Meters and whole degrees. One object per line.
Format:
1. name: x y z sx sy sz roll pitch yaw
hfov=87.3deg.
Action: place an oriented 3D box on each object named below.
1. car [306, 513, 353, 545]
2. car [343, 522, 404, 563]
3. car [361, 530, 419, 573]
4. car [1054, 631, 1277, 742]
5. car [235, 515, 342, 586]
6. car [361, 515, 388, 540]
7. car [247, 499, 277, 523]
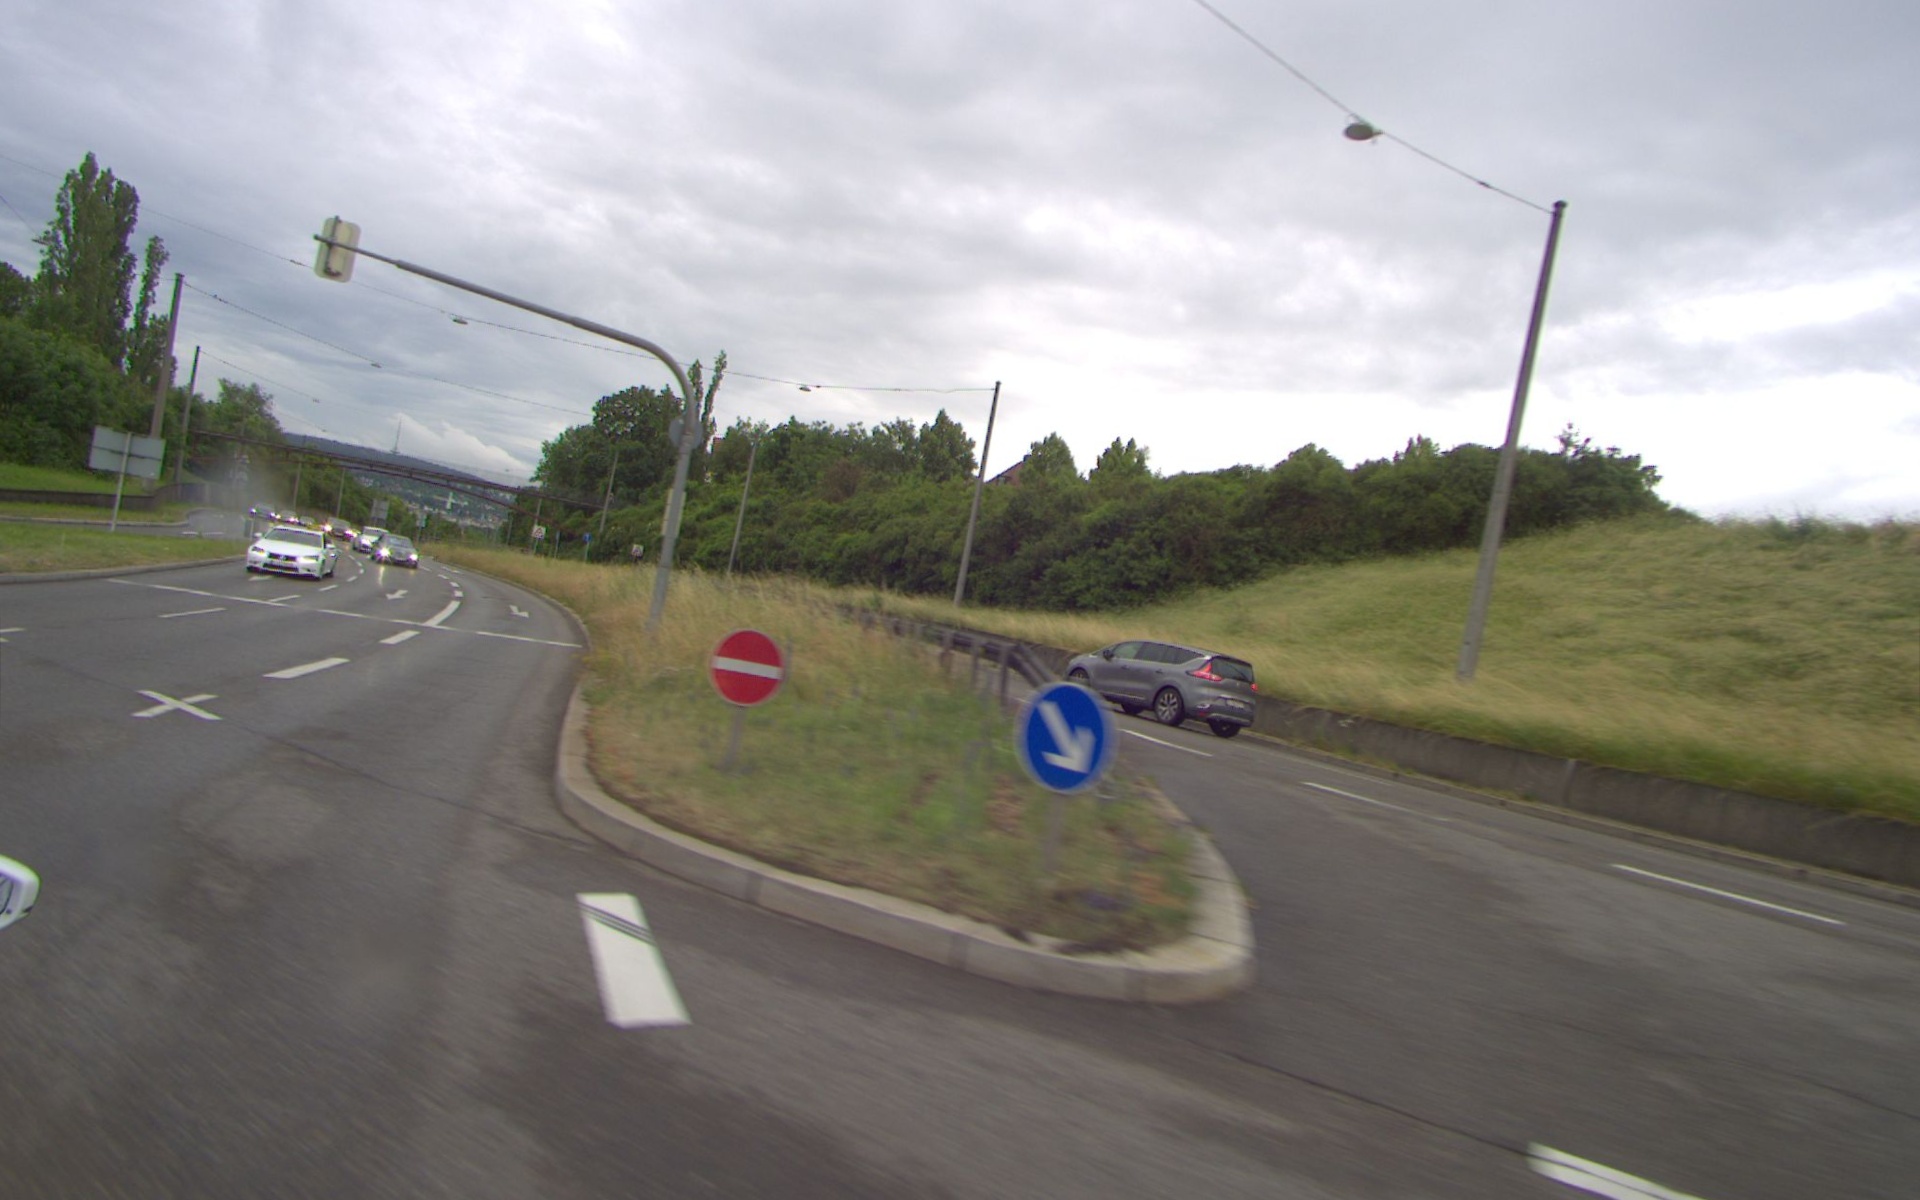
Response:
1. car: -45.253 -5.130 72.204 1.989 1.636 4.317 11 0 -42
2. car: -33.241 -3.270 56.939 1.989 1.636 4.317 11 0 -42
3. car: -27.860 -2.407 49.287 1.979 1.636 4.340 11 0 -27
4. car: 4.190 1.752 21.285 1.716 1.666 4.586 11 -4 -33
5. car: -20.169 -1.546 30.387 1.979 1.636 3.971 11 0 -27
6. car: -63.337 -7.850 108.816 2.064 2.108 4.329 11 0 -34
7. car: -60.890 -7.779 87.767 1.869 1.673 4.085 11 0 -34
